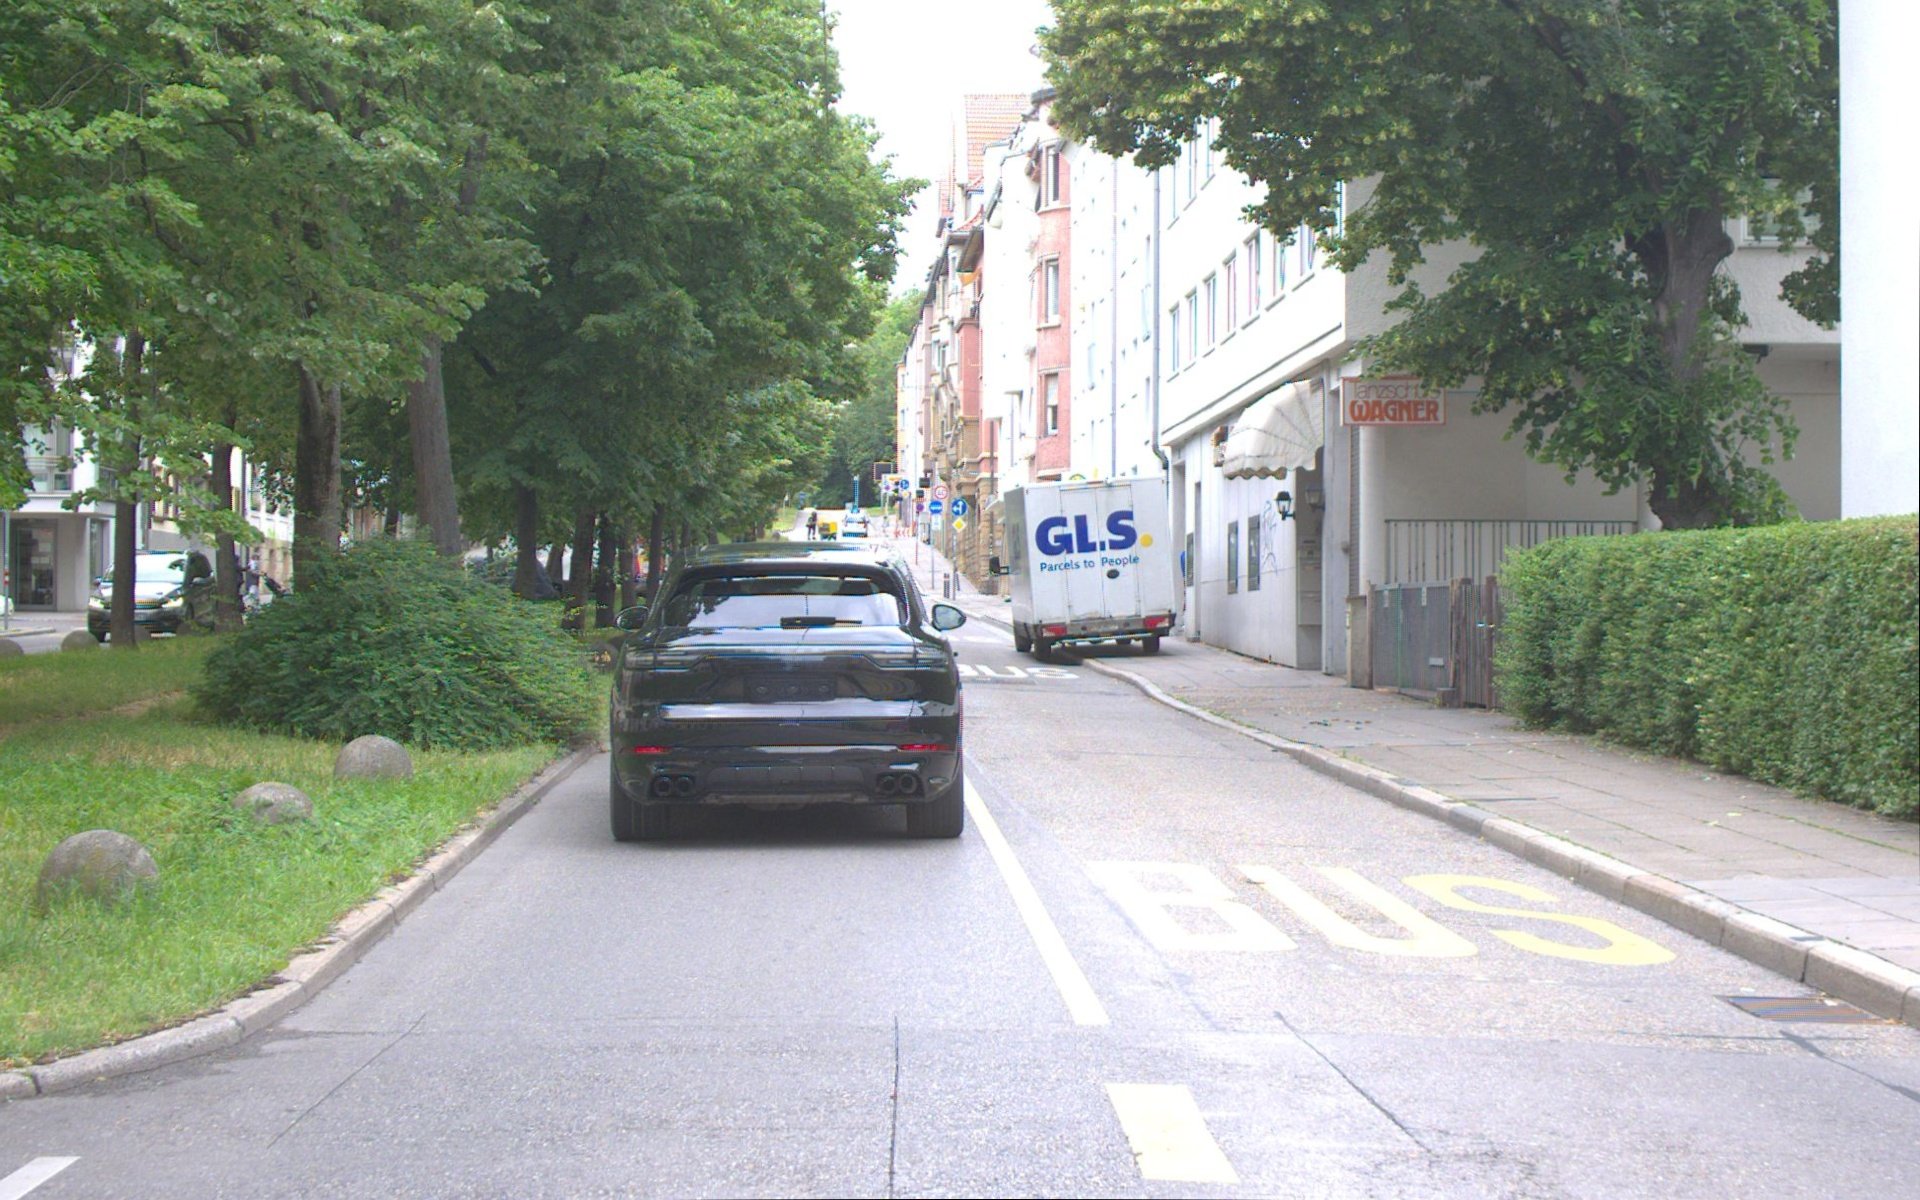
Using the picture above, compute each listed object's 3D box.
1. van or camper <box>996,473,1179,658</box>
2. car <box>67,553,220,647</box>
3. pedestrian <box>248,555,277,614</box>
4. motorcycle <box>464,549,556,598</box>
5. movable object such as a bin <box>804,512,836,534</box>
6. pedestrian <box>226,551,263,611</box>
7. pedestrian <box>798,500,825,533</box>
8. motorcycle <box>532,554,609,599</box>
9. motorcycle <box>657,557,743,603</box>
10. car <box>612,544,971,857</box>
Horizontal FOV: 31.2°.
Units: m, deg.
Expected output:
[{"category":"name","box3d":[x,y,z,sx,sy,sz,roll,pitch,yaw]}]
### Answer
[{"category":"van or camper","box3d":[1.981,-0.566,55.882,2.480,2.793,7.239,0,1,-2]},{"category":"car","box3d":[-14.934,-0.026,63.076,1.948,1.623,4.365,1,1,-3]},{"category":"pedestrian","box3d":[-19.311,-0.436,95.167,0.662,1.610,0.579,1,1,0]},{"category":"motorcycle","box3d":[-12.140,-0.719,92.869,2.382,1.312,1.046,0,1,-3]},{"category":"movable object such as a bin","box3d":[-8.483,-4.663,208.634,1.237,1.270,1.846,0,1,-29]},{"category":"pedestrian","box3d":[-19.525,-0.532,93.775,0.635,1.607,0.763,2,1,23]},{"category":"pedestrian","box3d":[-9.075,-5.076,209.779,1.301,2.007,1.020,0,1,-28]},{"category":"motorcycle","box3d":[-10.904,-0.655,96.256,2.029,1.231,0.897,0,1,3]},{"category":"motorcycle","box3d":[-7.233,-0.551,95.831,2.355,1.231,1.034,0,2,-3]},{"category":"car","box3d":[-1.033,0.510,20.398,1.903,1.660,4.136,0,1,-4]}]
